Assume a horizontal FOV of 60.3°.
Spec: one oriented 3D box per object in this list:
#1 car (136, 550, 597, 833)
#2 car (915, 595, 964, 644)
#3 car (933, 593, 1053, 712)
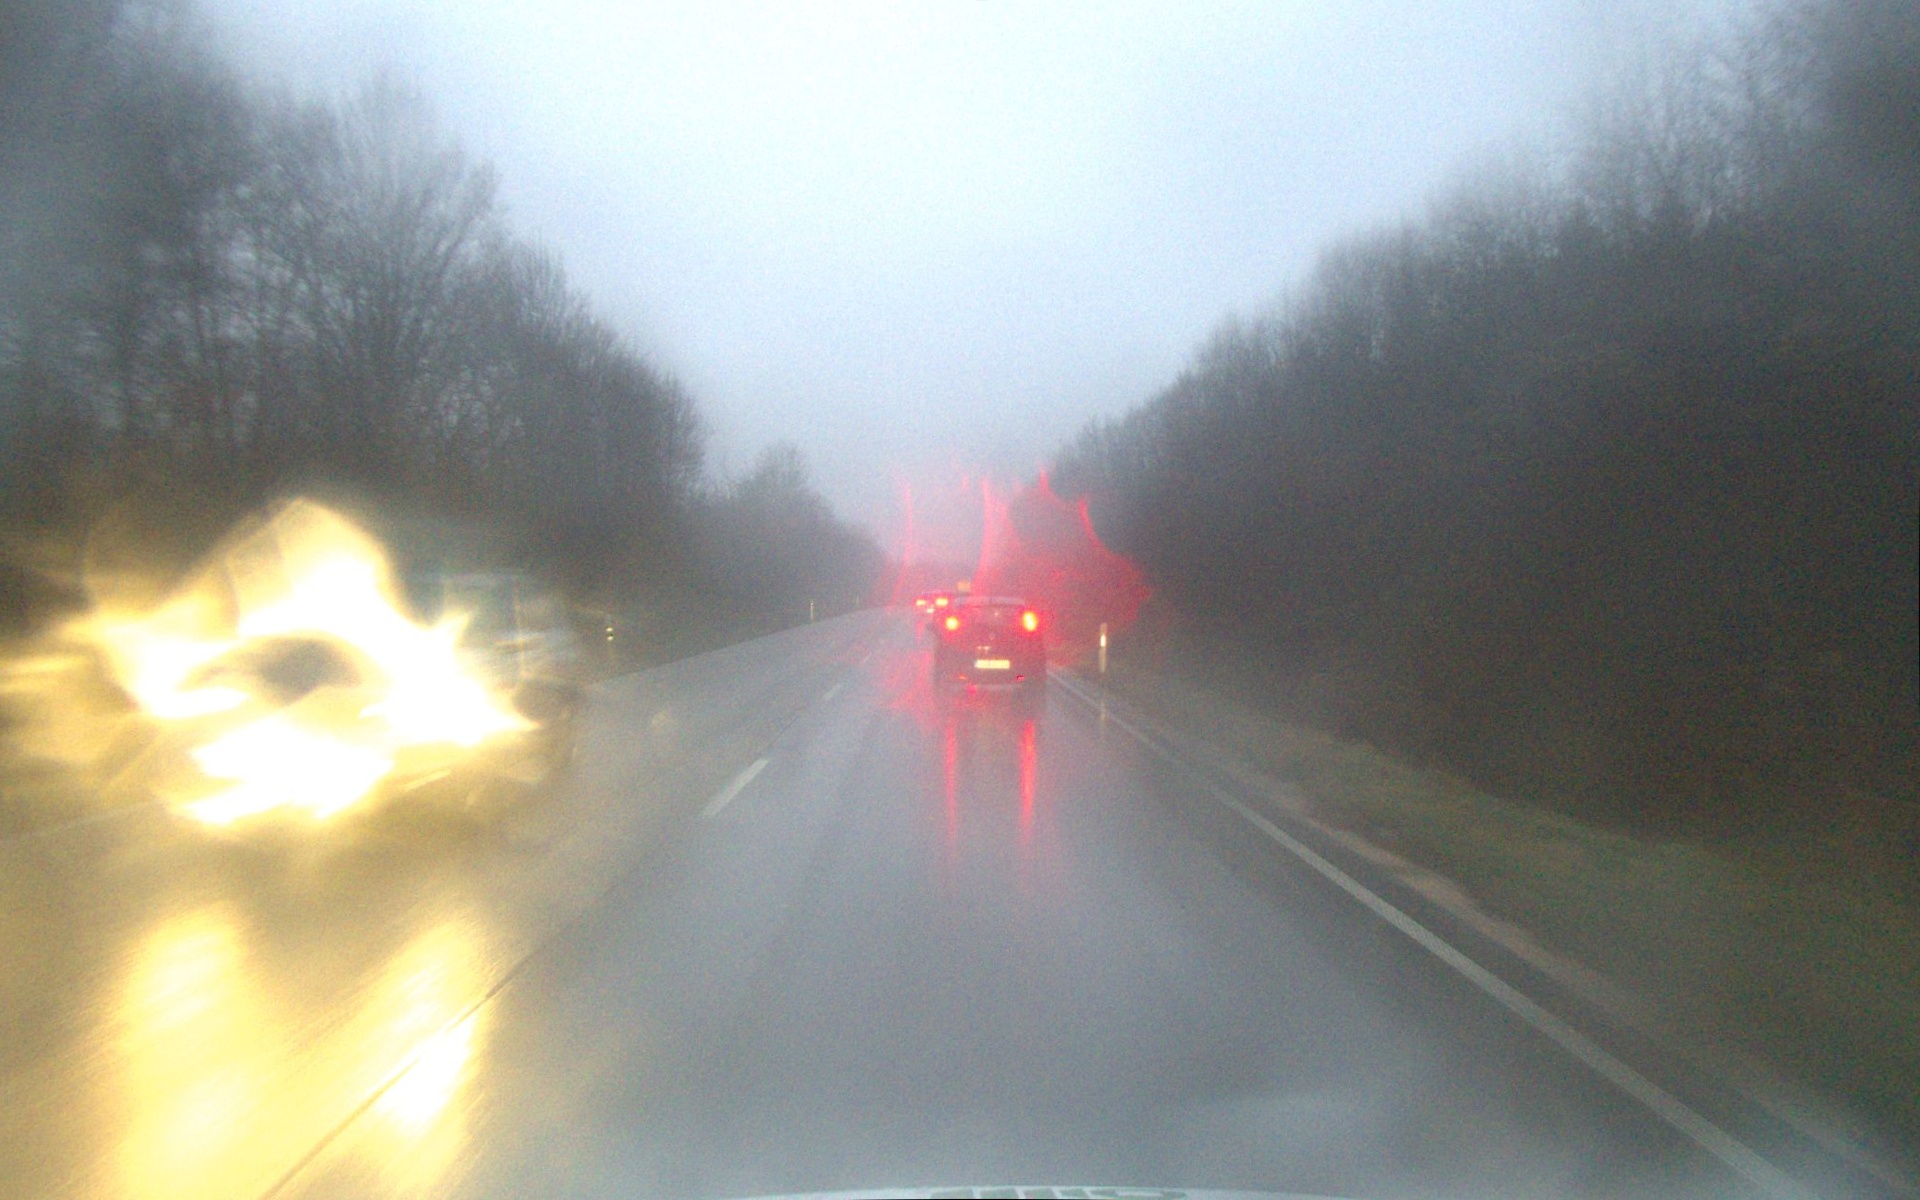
[{"bbox_3d":[-3.917,0.521,11.737,1.834,1.635,4.195,0,0,-1],"label":"car"},{"bbox_3d":[-0.734,0.695,60.433,1.692,1.672,4.000,1,0,0],"label":"car"},{"bbox_3d":[0.489,0.760,25.726,1.692,1.672,4.000,1,0,0],"label":"car"}]
